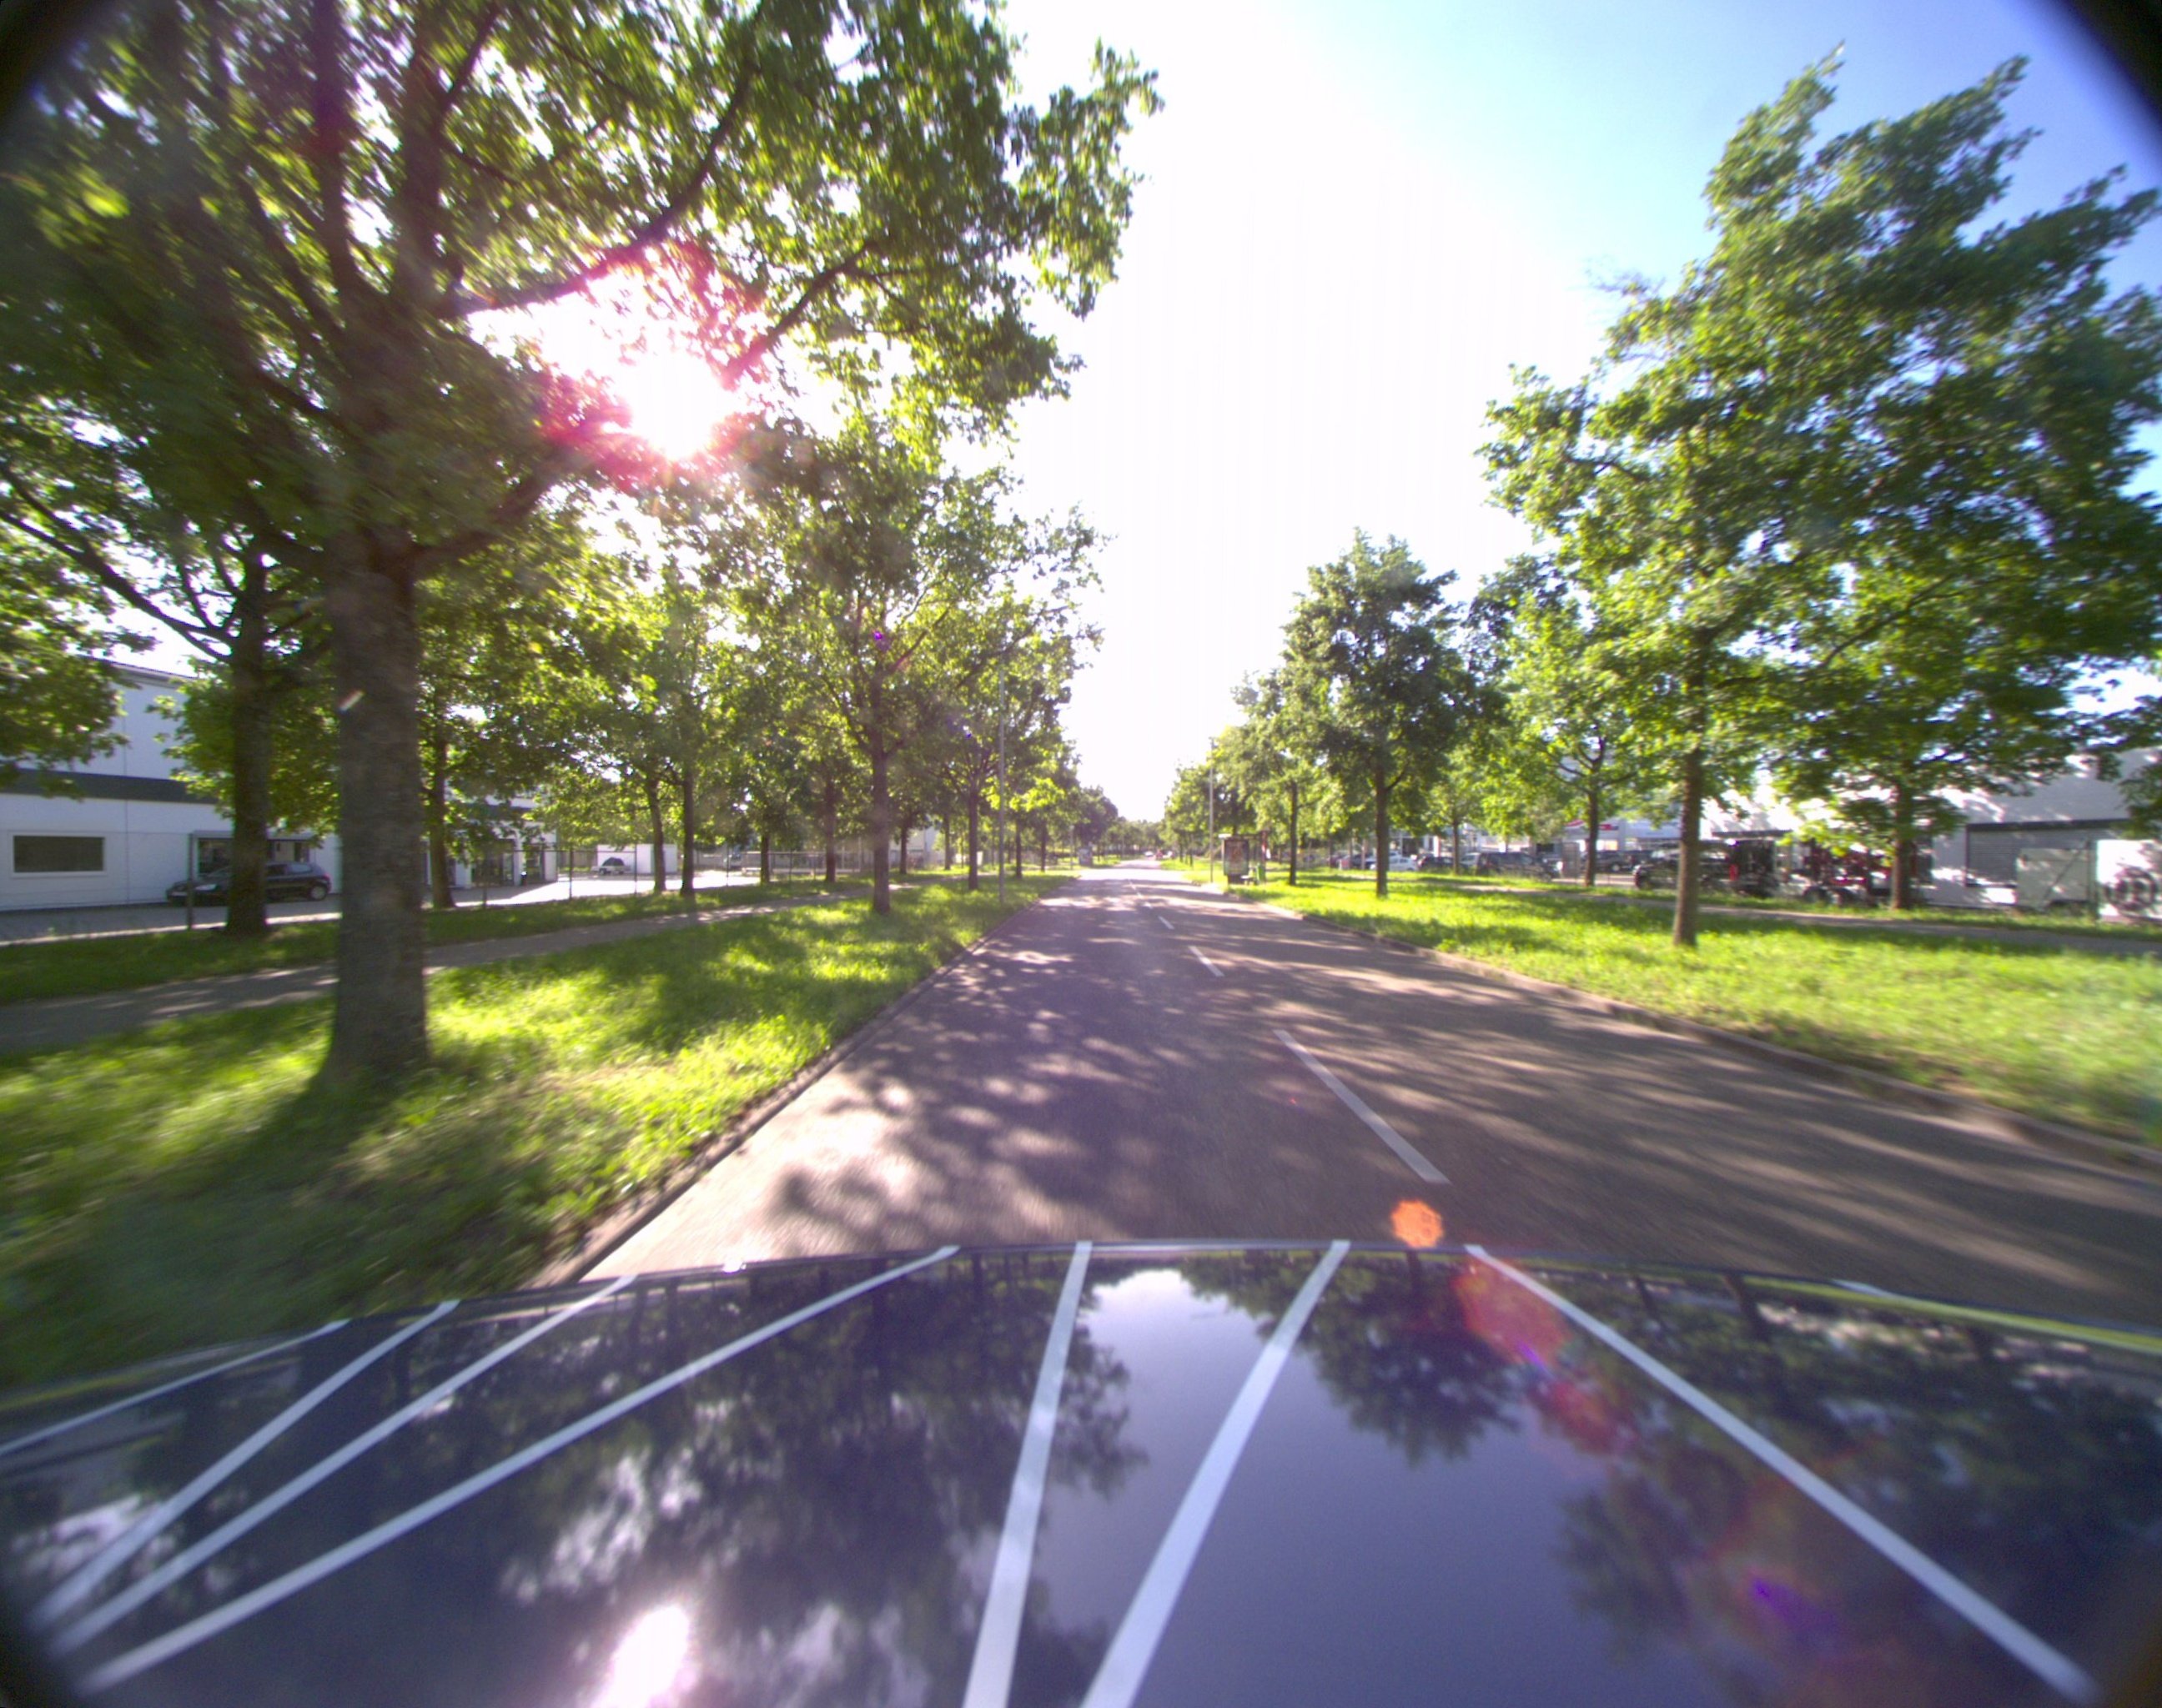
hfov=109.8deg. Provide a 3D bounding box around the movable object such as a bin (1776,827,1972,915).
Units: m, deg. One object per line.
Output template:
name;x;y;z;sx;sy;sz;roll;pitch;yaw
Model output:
movable object such as a bin;25.259;0.473;24.470;1.998;2.501;4.236;-2;1;3

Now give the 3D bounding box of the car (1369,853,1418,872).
car;27.424;0.739;66.740;3.885;1.493;2.003;-2;1;22

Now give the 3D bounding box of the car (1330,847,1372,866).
car;29.477;0.251;82.904;4.004;1.827;1.996;-2;1;-22

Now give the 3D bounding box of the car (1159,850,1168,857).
car;21.527;-0.140;198.382;1.997;2.002;4.002;0;0;8

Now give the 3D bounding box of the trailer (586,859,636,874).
trailer;-40.576;1.046;65.601;3.588;1.259;1.733;0;0;19

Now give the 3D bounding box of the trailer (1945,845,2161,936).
trailer;24.274;0.788;18.650;1.758;2.002;3.965;0;0;4

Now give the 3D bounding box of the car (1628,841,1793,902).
car;24.789;0.619;30.303;1.998;2.162;5.671;0;0;2

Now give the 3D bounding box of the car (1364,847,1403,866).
car;30.783;0.230;77.300;4.007;1.827;1.995;-3;1;-38

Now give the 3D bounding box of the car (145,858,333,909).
car;-29.066;0.970;26.457;1.720;1.497;4.159;-2;1;3

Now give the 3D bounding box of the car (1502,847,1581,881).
car;27.630;0.575;45.669;3.989;2.002;2.004;0;1;31

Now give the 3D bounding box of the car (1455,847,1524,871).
car;34.494;0.414;64.317;5.039;1.827;2.003;-2;1;24
